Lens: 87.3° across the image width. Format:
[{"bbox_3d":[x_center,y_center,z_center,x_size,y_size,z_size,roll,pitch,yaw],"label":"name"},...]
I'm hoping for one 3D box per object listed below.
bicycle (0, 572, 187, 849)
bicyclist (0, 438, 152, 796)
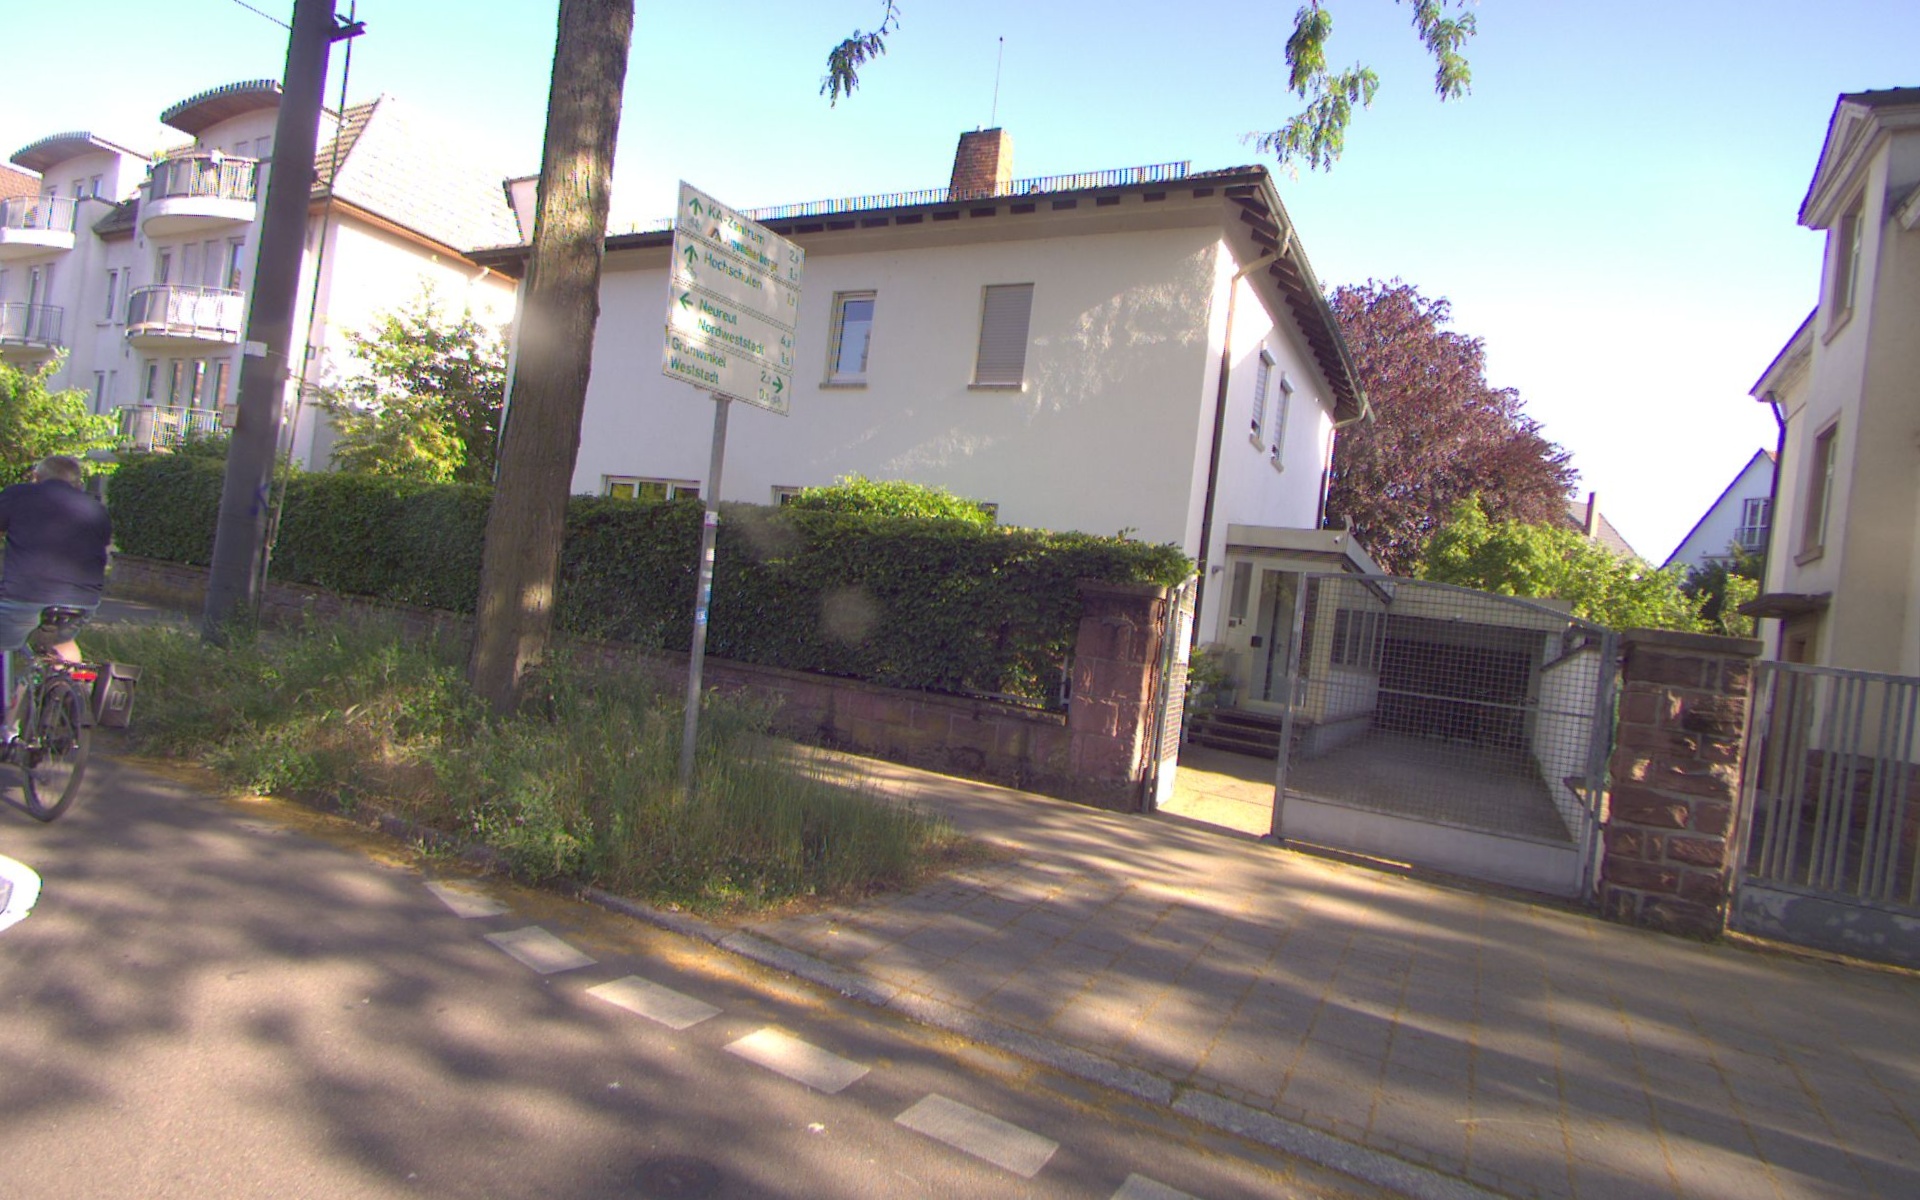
[{"bbox_3d":[-4.829,0.472,5.168,1.941,1.110,0.625,7,-1,32],"label":"bicycle"},{"bbox_3d":[-4.792,0.075,5.177,0.766,1.707,0.617,7,0,32],"label":"bicyclist"}]
